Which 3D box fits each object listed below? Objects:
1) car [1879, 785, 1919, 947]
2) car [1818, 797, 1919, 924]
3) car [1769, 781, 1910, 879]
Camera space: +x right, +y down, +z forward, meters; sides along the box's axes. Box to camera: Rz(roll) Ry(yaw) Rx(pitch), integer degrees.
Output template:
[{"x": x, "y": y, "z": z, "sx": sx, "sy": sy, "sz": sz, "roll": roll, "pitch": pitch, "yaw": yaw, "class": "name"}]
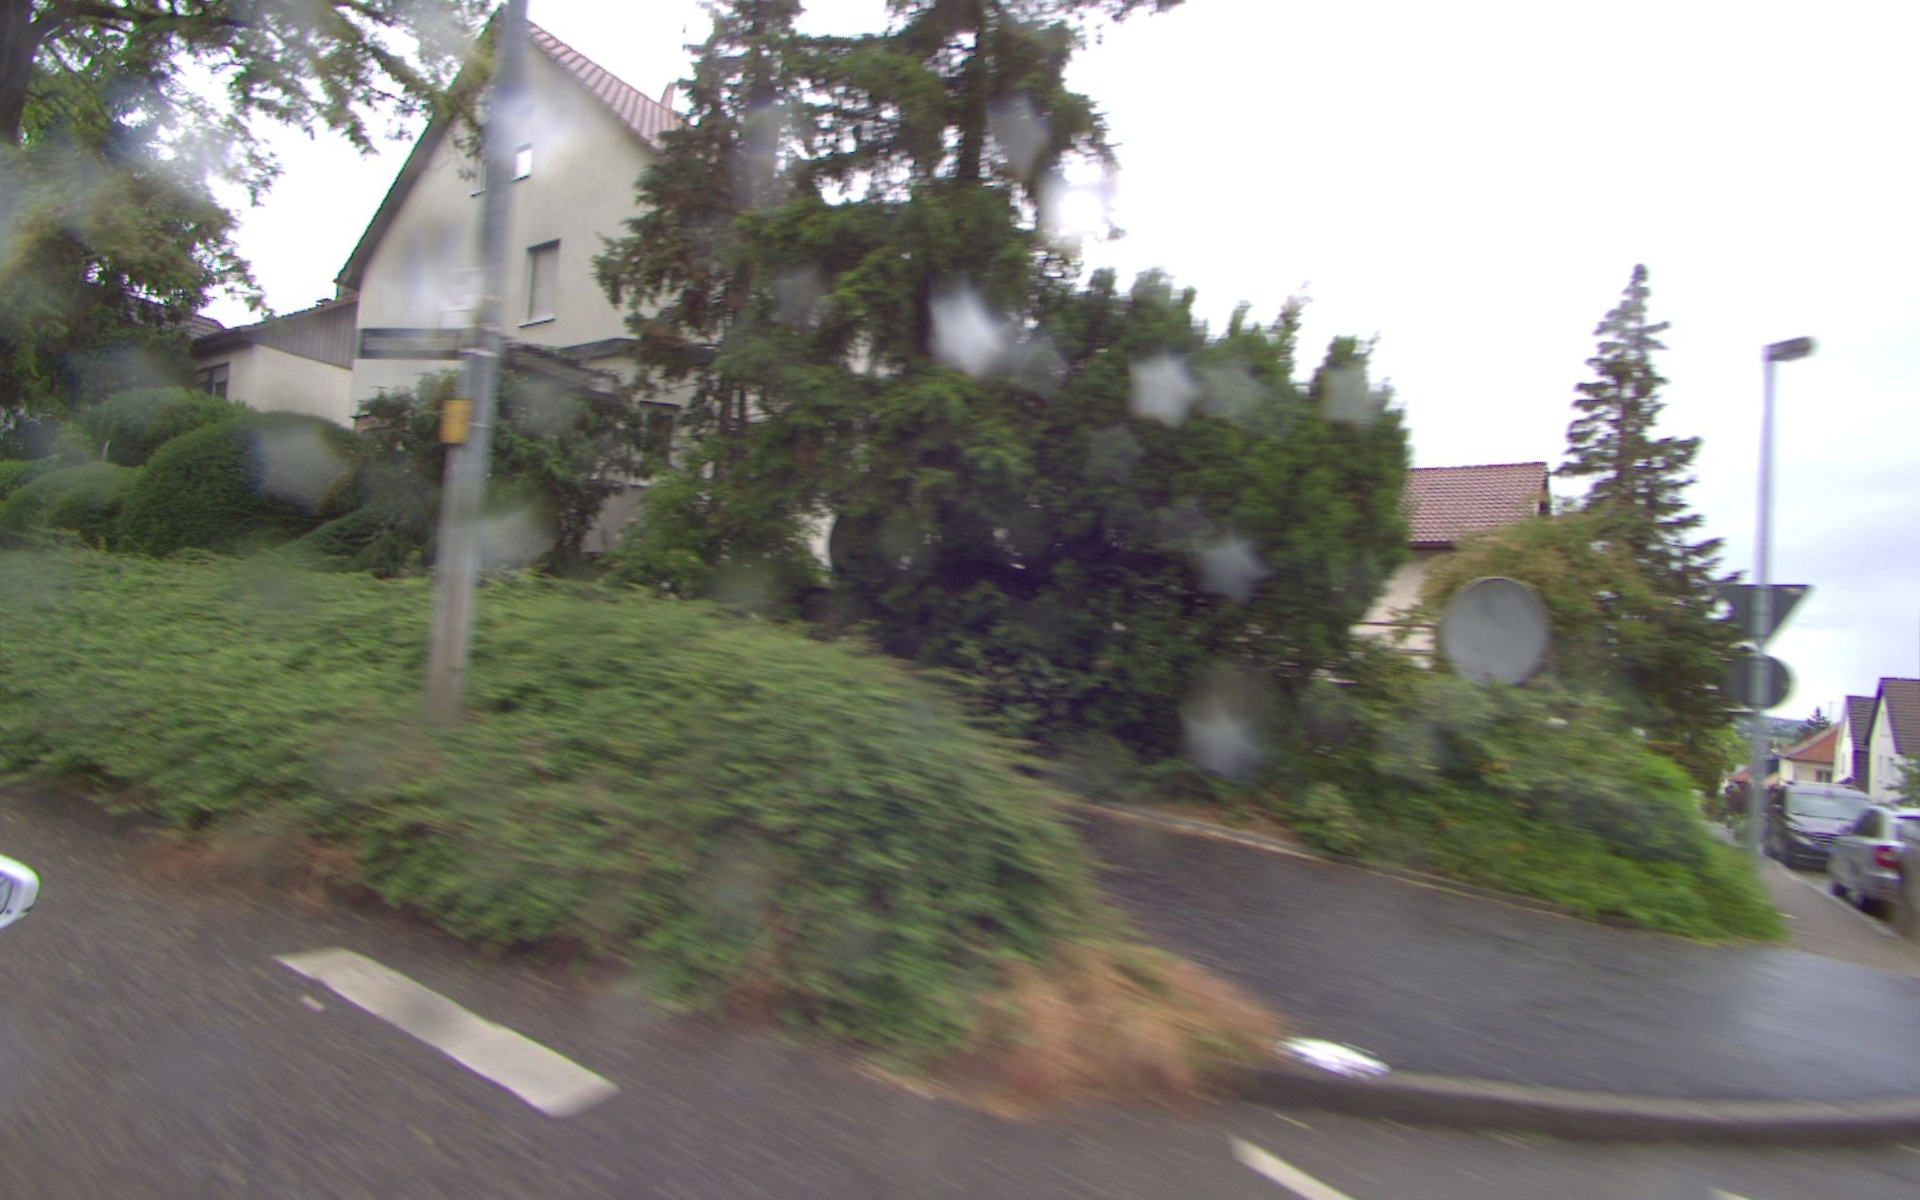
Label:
[{"x": 10.668, "y": 2.758, "z": 9.726, "sx": 1.892, "sy": 1.667, "sz": 4.447, "roll": 3, "pitch": -7, "yaw": 34, "class": "car"}, {"x": 13.203, "y": 3.581, "z": 13.929, "sx": 1.622, "sy": 1.452, "sz": 3.995, "roll": 3, "pitch": -7, "yaw": 36, "class": "car"}, {"x": 18.887, "y": 4.885, "z": 21.766, "sx": 1.768, "sy": 1.653, "sz": 3.997, "roll": 3, "pitch": -7, "yaw": 34, "class": "car"}]
